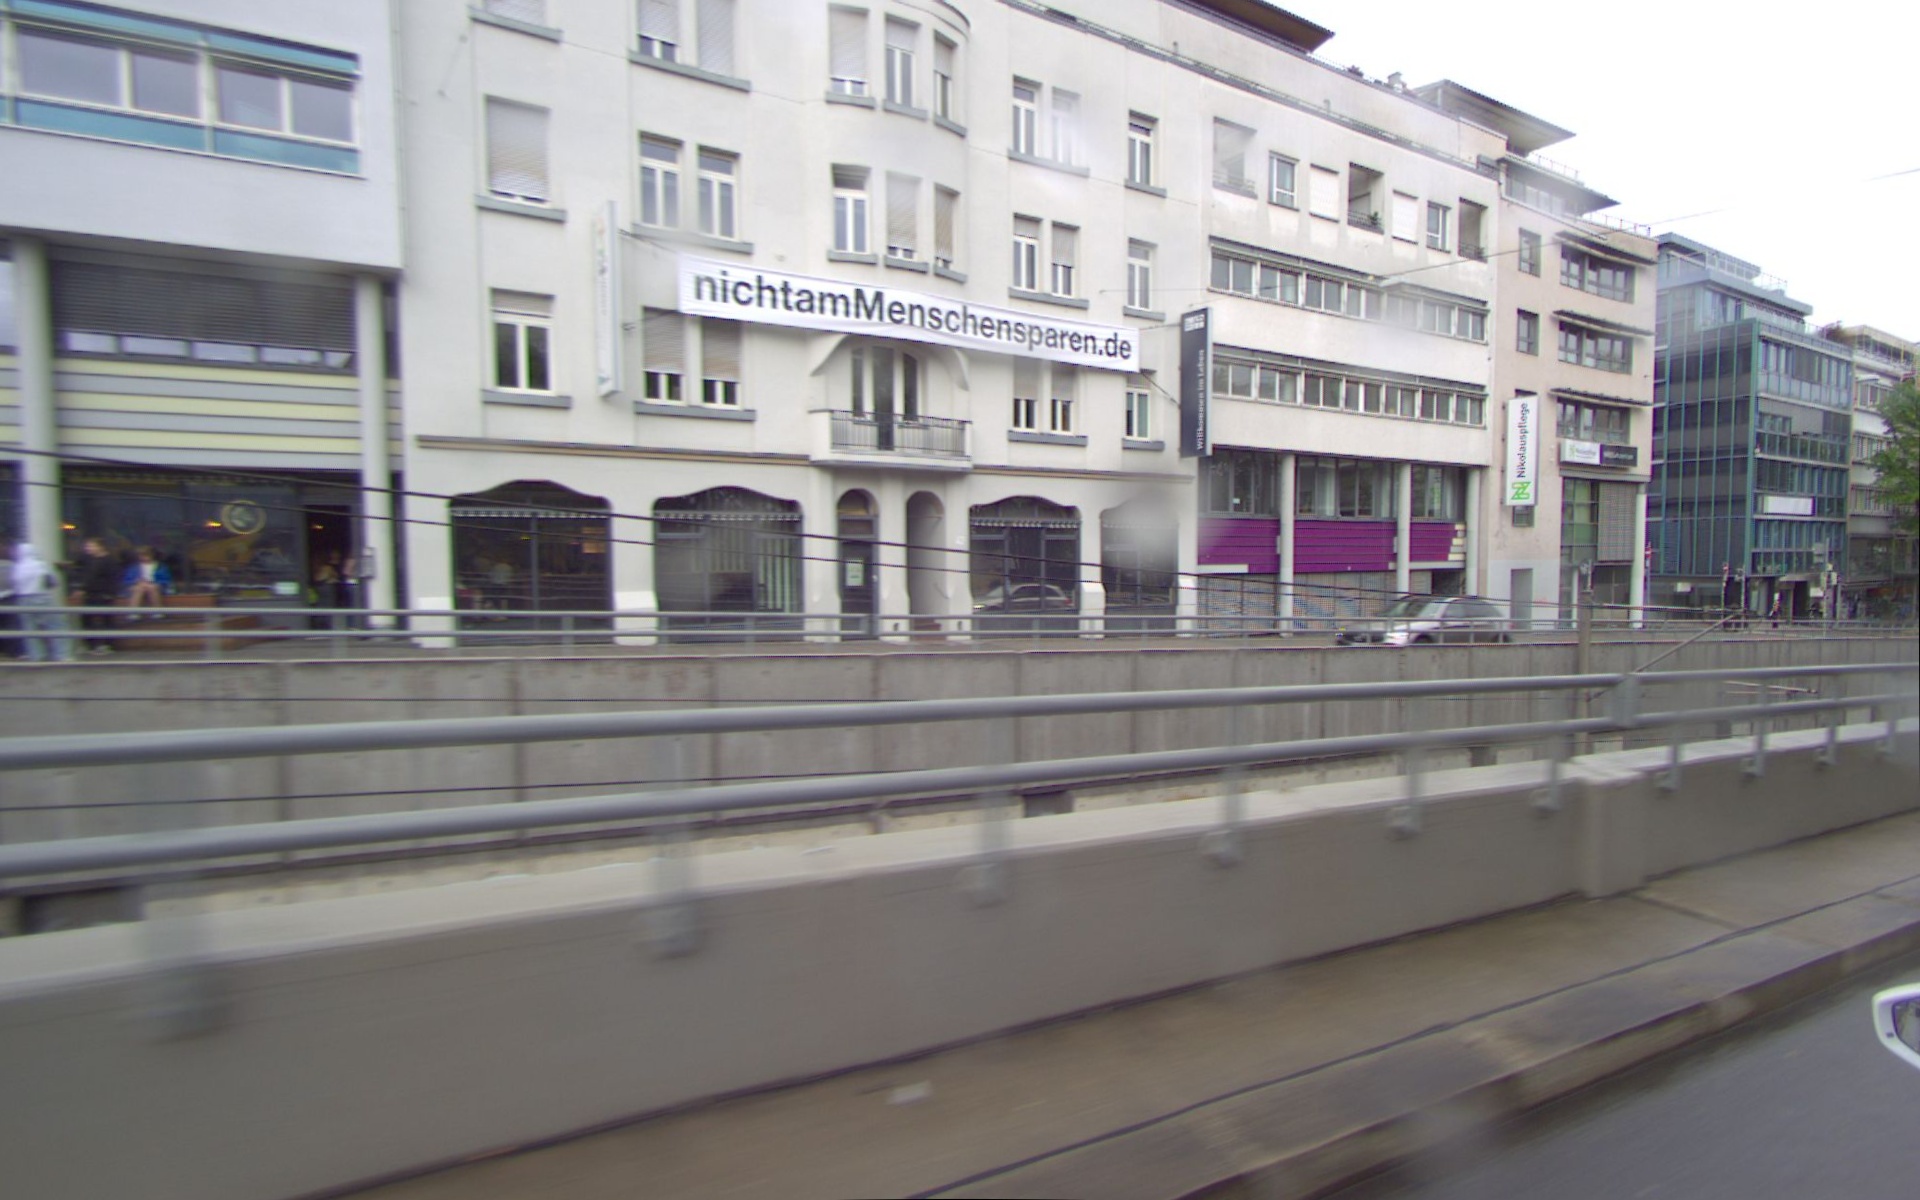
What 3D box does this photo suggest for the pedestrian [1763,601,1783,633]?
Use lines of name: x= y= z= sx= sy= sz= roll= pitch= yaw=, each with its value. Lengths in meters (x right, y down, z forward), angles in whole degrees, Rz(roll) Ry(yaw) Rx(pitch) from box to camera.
pedestrian: x=43.312 y=0.888 z=53.495 sx=0.482 sy=1.694 sz=0.660 roll=0 pitch=2 yaw=-32

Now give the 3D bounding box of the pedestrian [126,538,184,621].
pedestrian: x=-14.247 y=-0.358 z=17.795 sx=0.665 sy=1.438 sz=0.605 roll=0 pitch=2 yaw=-27

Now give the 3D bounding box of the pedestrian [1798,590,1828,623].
pedestrian: x=49.858 y=0.371 z=58.685 sx=0.943 sy=1.893 sz=0.864 roll=1 pitch=2 yaw=-13

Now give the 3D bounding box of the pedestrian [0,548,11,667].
pedestrian: x=-13.695 y=0.096 z=13.786 sx=0.664 sy=1.638 sz=0.937 roll=3 pitch=3 yaw=43

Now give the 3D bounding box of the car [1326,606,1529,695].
car: x=10.394 y=1.040 z=22.259 sx=4.523 sy=1.736 sz=1.827 roll=0 pitch=2 yaw=-30

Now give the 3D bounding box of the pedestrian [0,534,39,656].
pedestrian: x=-14.455 y=-0.081 z=15.031 sx=0.664 sy=1.809 sz=0.937 roll=3 pitch=3 yaw=43

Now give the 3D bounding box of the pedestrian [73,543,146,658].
pedestrian: x=-13.303 y=-0.006 z=15.716 sx=0.660 sy=1.745 sz=0.609 roll=2 pitch=2 yaw=19

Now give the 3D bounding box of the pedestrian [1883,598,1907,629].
pedestrian: x=59.721 y=0.874 z=64.134 sx=0.857 sy=1.893 sz=0.871 roll=0 pitch=3 yaw=-33

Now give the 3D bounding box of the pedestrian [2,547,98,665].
pedestrian: x=-13.261 y=0.069 z=14.652 sx=0.660 sy=1.665 sz=0.795 roll=1 pitch=2 yaw=15
